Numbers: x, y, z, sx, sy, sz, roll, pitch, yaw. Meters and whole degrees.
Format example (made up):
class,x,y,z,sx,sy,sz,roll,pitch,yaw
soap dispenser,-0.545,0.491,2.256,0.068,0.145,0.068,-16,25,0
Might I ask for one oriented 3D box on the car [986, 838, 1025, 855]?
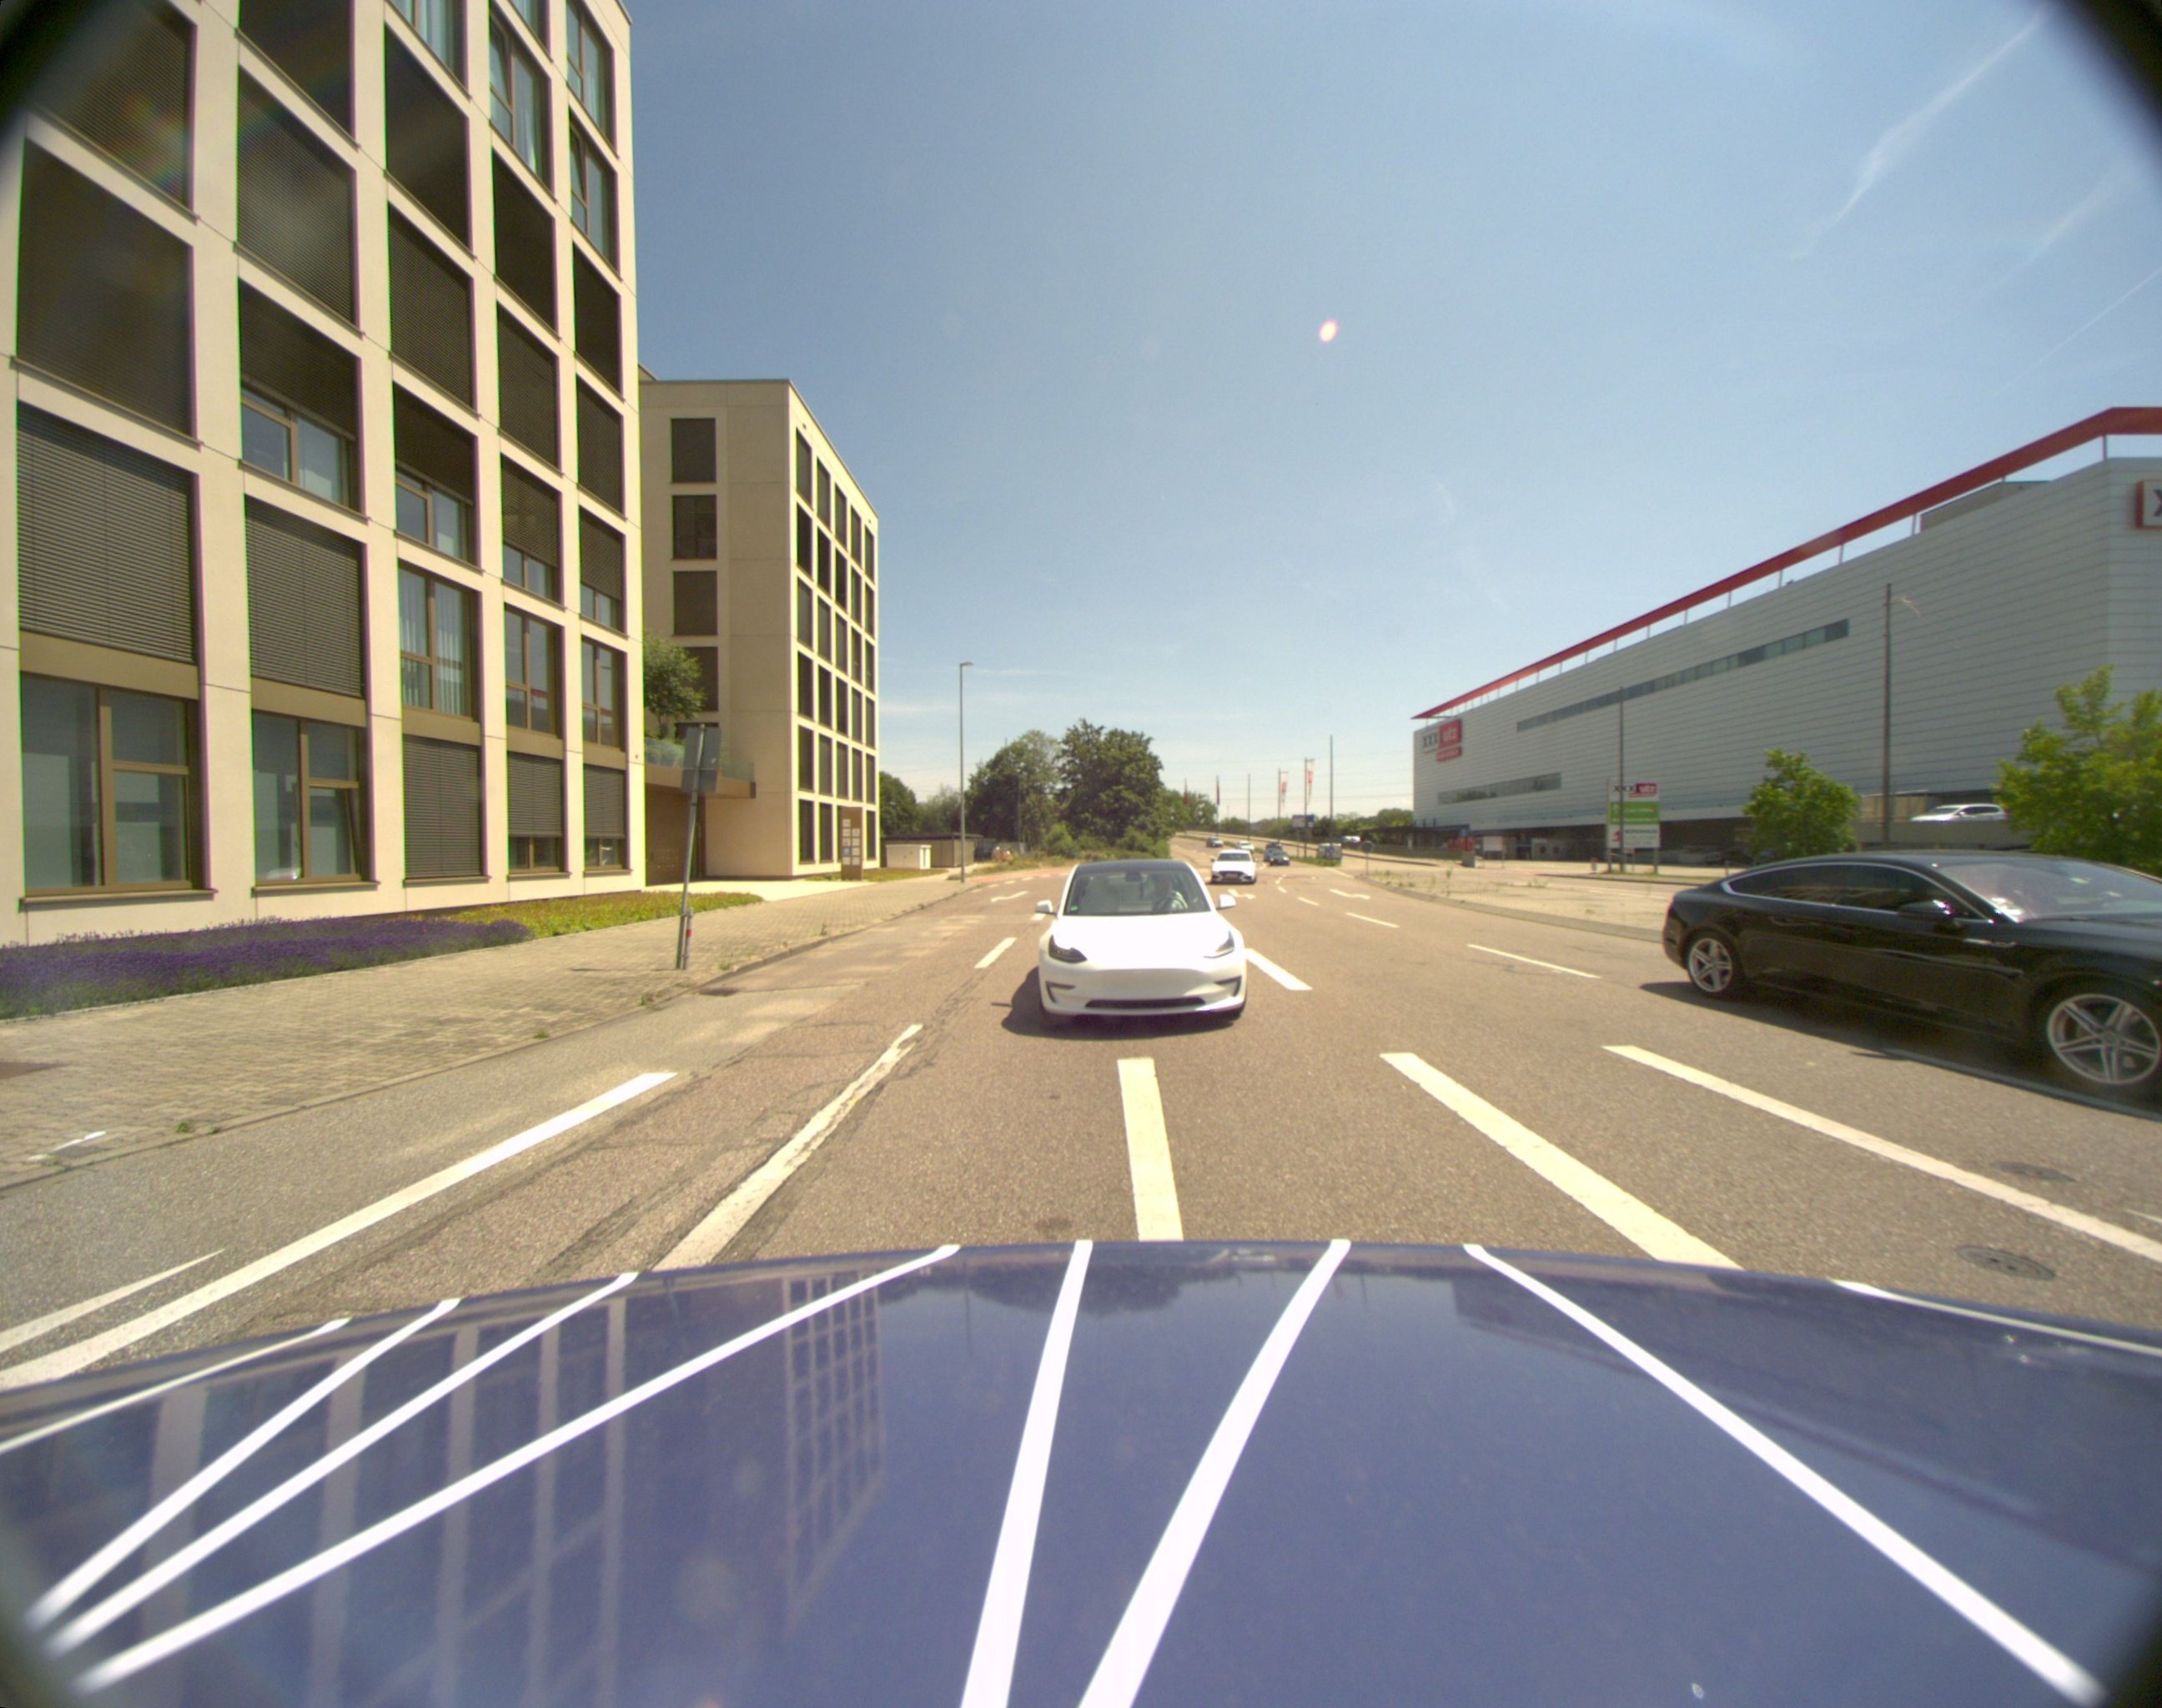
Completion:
class,x,y,z,sx,sy,sz,roll,pitch,yaw
car,-8.595,-0.856,86.103,4.005,1.942,1.996,0,1,-24

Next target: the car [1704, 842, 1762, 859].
class,x,y,z,sx,sy,sz,roll,pitch,yaw
car,61.122,-0.346,71.278,3.746,1.611,1.911,0,1,1

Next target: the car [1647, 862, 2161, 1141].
class,x,y,z,sx,sy,sz,roll,pitch,yaw
car,6.587,0.794,5.486,1.752,1.382,4.534,-1,0,3

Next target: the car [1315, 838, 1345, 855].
class,x,y,z,sx,sy,sz,roll,pitch,yaw
car,27.963,-0.803,85.549,1.835,1.840,4.840,0,1,1

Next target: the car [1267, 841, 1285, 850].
class,x,y,z,sx,sy,sz,roll,pitch,yaw
car,28.631,-1.201,111.666,1.860,1.295,3.894,1,1,3

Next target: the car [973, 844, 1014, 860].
class,x,y,z,sx,sy,sz,roll,pitch,yaw
car,-9.434,-0.245,82.097,4.005,1.652,1.834,0,2,-23

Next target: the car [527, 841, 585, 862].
class,x,y,z,sx,sy,sz,roll,pitch,yaw
car,-46.837,-0.249,67.913,1.997,1.841,4.003,0,1,10

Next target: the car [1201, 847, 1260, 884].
class,x,y,z,sx,sy,sz,roll,pitch,yaw
car,6.395,0.451,32.880,1.735,1.441,4.230,1,0,0

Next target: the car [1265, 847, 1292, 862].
class,x,y,z,sx,sy,sz,roll,pitch,yaw
car,18.666,0.027,71.882,1.801,1.369,4.407,0,1,6

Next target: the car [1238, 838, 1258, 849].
class,x,y,z,sx,sy,sz,roll,pitch,yaw
car,23.217,-1.469,105.543,1.680,1.566,4.054,0,1,-3

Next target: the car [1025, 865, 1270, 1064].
class,x,y,z,sx,sy,sz,roll,pitch,yaw
car,0.475,0.891,8.133,1.880,1.417,4.405,-2,0,-1
